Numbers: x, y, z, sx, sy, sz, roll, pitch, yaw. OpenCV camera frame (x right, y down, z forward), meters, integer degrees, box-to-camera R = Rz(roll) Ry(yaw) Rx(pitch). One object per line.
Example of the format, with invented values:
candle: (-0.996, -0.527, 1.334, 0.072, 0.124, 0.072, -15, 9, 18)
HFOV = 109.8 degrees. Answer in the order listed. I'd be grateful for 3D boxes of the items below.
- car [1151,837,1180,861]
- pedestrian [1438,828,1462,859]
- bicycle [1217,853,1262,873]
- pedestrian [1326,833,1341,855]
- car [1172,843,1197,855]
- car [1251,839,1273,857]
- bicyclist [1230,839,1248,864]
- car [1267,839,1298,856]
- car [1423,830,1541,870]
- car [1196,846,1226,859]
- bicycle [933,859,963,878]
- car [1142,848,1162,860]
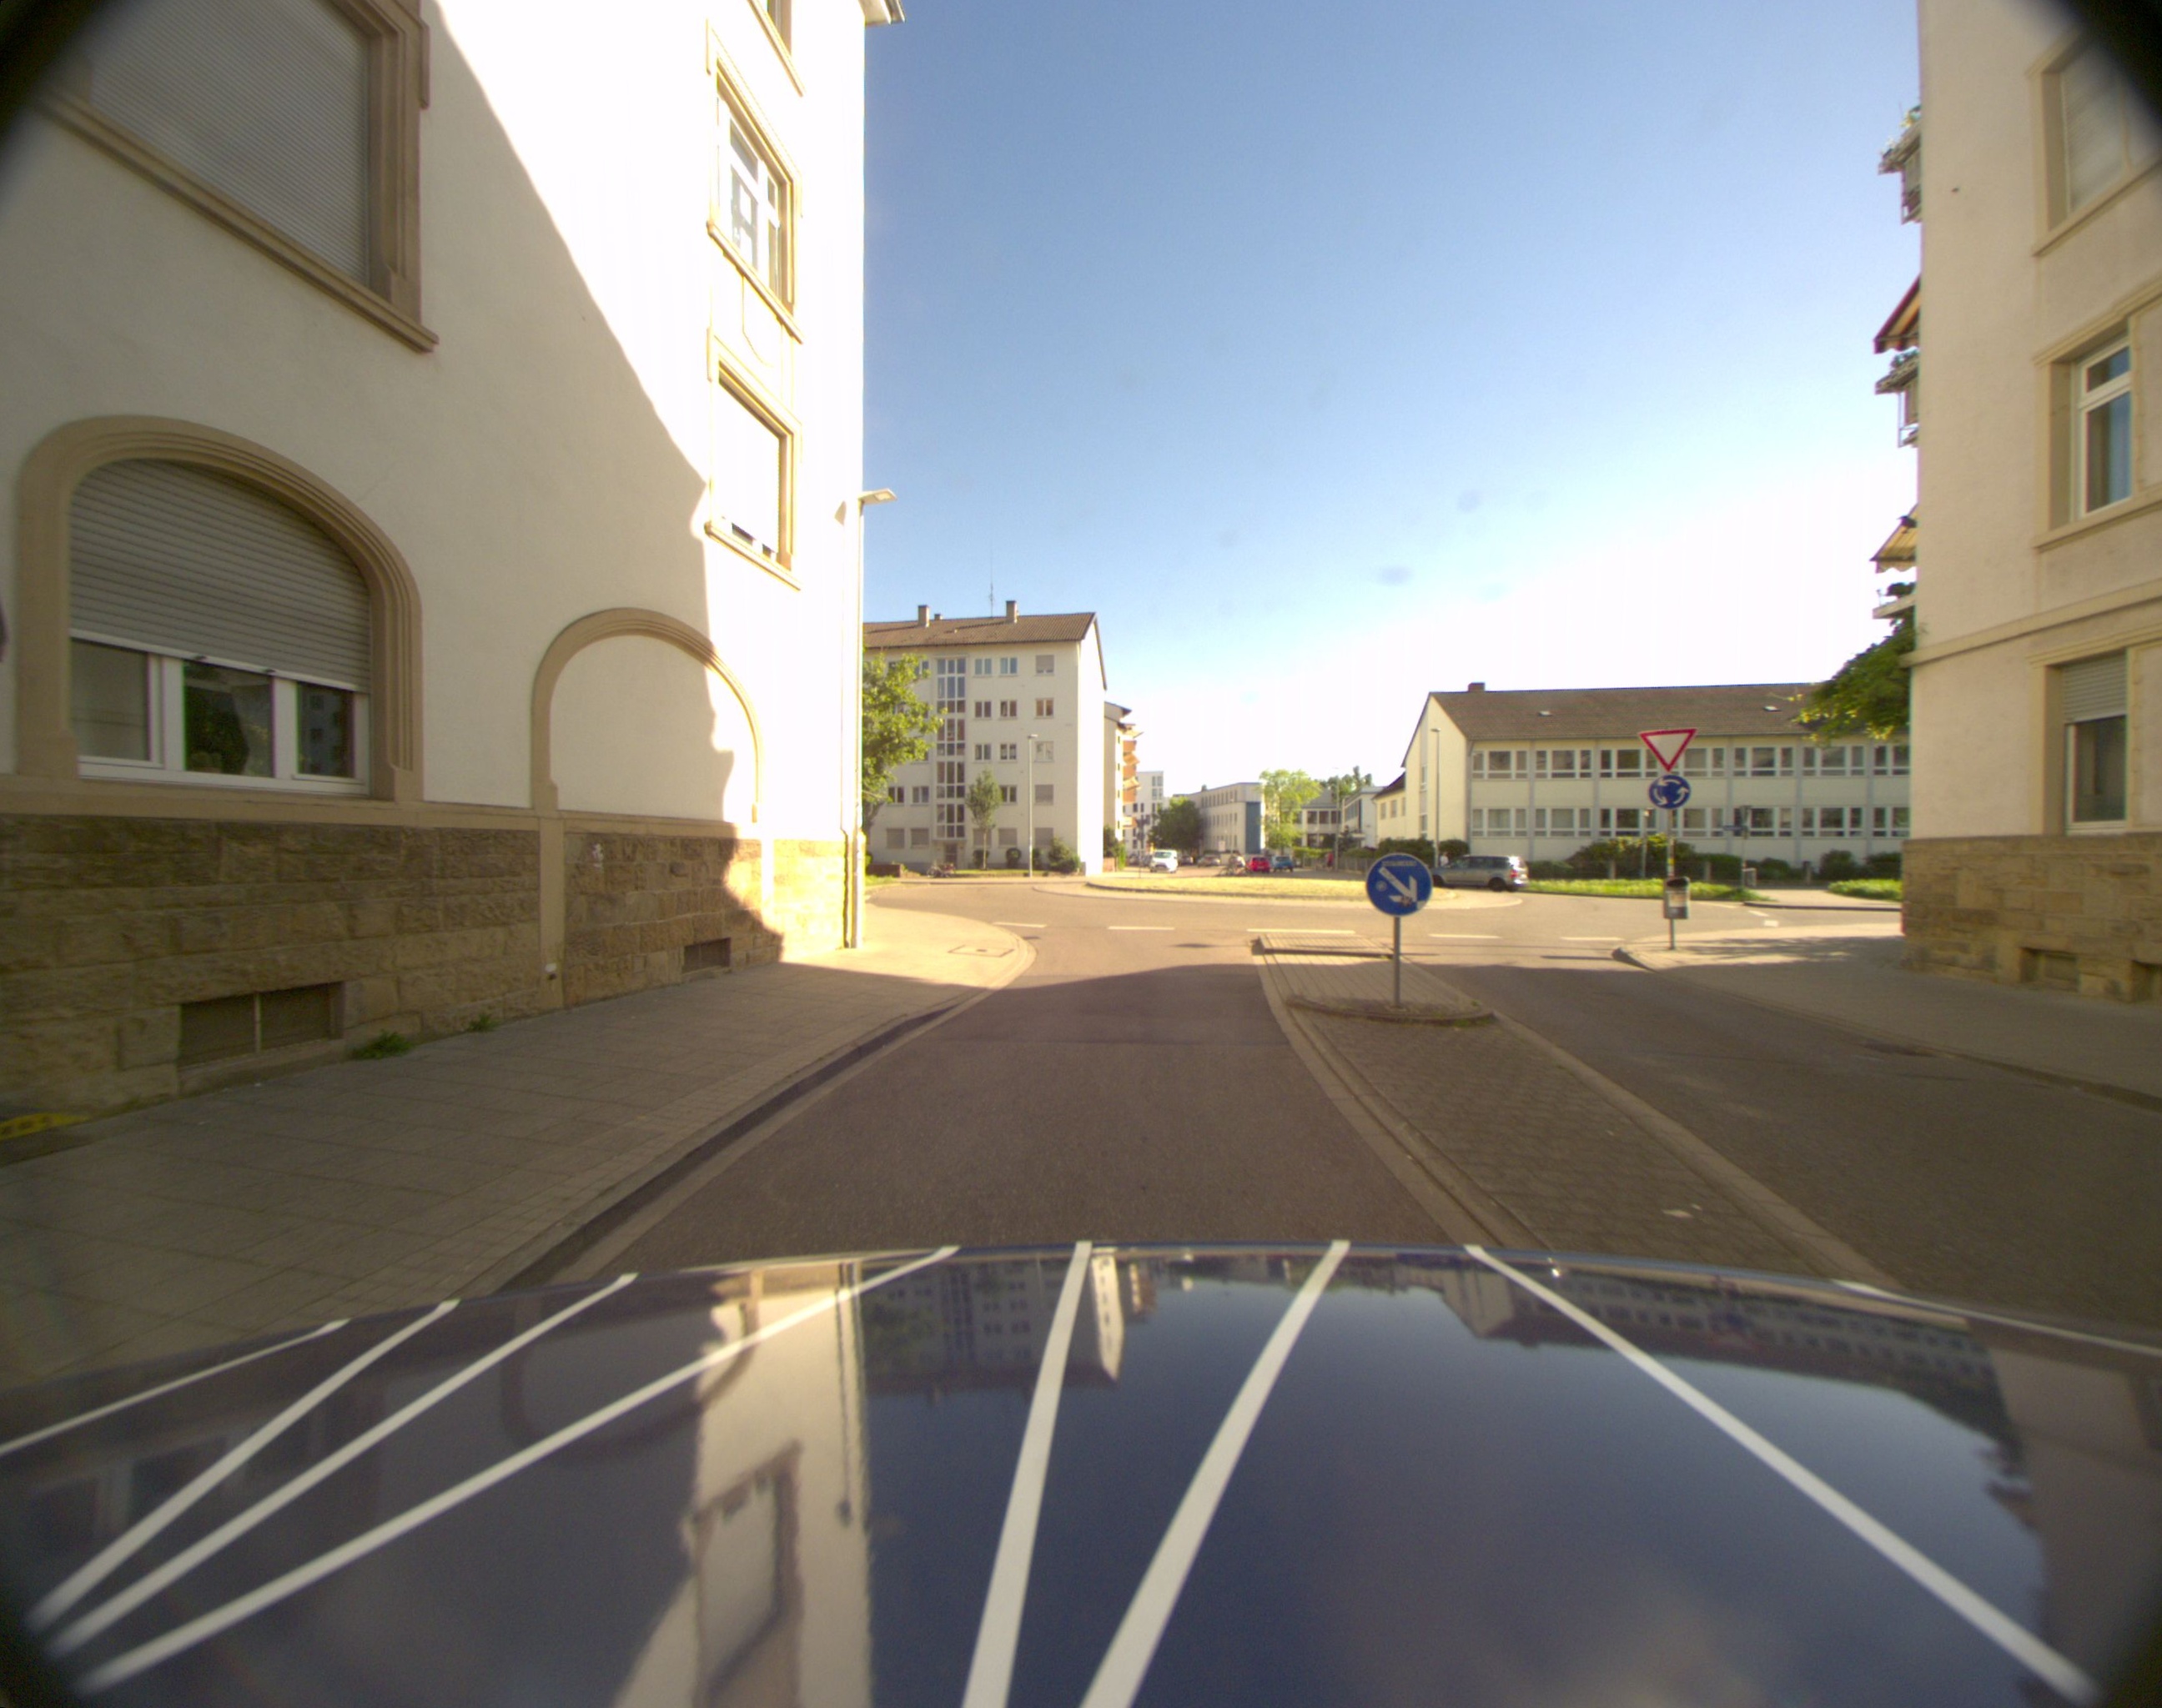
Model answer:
car: (7.439, -0.440, 66.296, 1.996, 2.002, 4.801, 3, 1, 12)
pedestrian: (20.318, -0.591, 41.866, 0.994, 1.696, 0.693, 0, 1, 42)
bicycle: (8.473, 0.469, 40.587, 2.205, 1.008, 0.812, -1, 1, 21)
pedestrian: (19.777, -0.767, 59.520, 0.819, 1.696, 0.997, -1, 1, 4)
car: (14.843, -0.654, 108.880, 2.139, 1.604, 4.830, -2, 1, -10)
car: (15.189, -0.474, 63.851, 1.714, 1.374, 4.004, 1, 0, 13)
bicyclist: (8.445, -0.156, 40.576, 0.823, 1.304, 0.812, -1, 1, 21)
car: (18.413, -0.614, 69.664, 1.884, 1.426, 4.415, -2, 0, 4)
car: (17.880, -0.157, 34.024, 1.885, 1.686, 4.261, -1, 0, -42)
car: (16.895, -0.221, 99.050, 2.140, 1.604, 4.830, -2, 1, -12)
bicycle: (-7.703, 0.818, 43.998, 1.623, 1.073, 0.384, 0, 3, 3)
car: (9.041, 0.011, 96.502, 1.758, 1.445, 3.997, 3, 1, -5)
